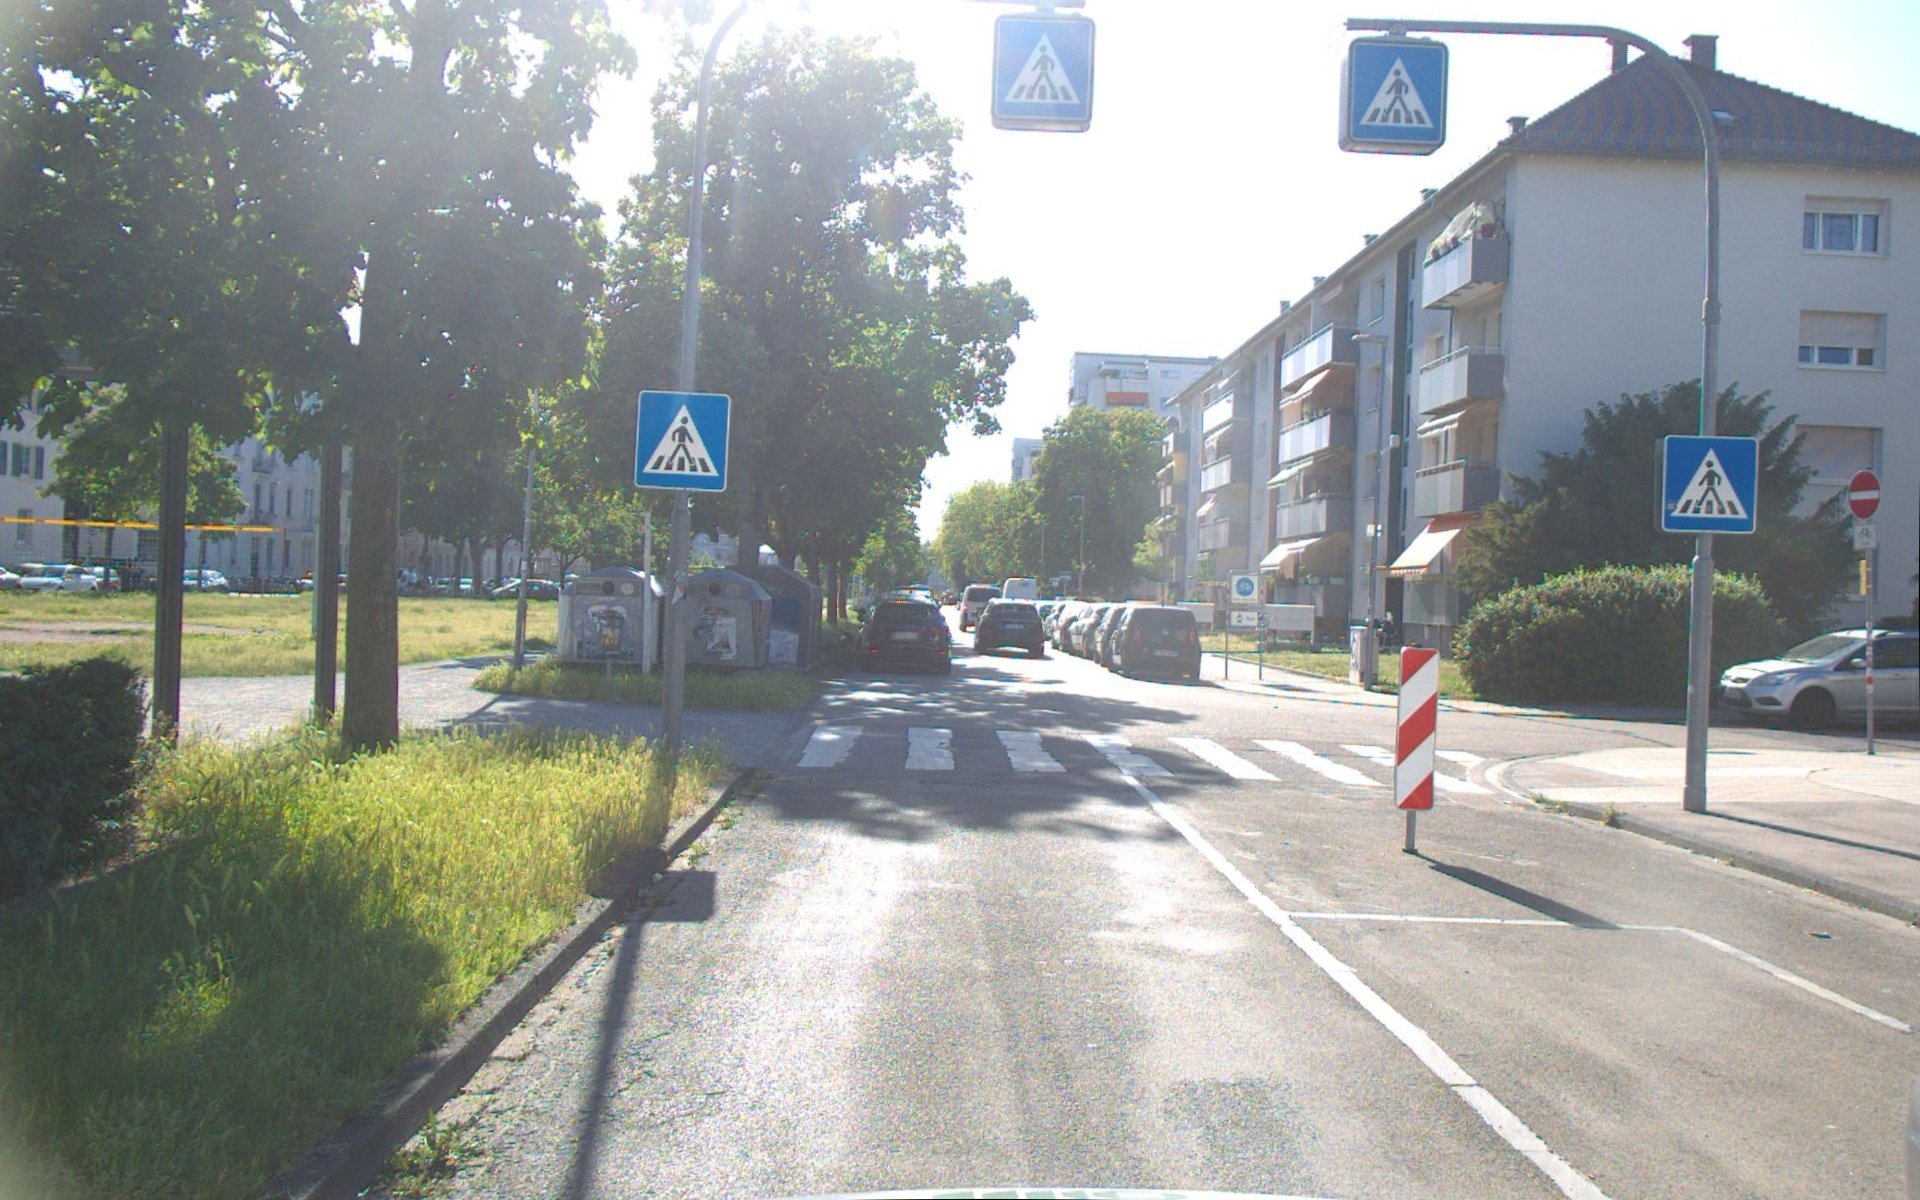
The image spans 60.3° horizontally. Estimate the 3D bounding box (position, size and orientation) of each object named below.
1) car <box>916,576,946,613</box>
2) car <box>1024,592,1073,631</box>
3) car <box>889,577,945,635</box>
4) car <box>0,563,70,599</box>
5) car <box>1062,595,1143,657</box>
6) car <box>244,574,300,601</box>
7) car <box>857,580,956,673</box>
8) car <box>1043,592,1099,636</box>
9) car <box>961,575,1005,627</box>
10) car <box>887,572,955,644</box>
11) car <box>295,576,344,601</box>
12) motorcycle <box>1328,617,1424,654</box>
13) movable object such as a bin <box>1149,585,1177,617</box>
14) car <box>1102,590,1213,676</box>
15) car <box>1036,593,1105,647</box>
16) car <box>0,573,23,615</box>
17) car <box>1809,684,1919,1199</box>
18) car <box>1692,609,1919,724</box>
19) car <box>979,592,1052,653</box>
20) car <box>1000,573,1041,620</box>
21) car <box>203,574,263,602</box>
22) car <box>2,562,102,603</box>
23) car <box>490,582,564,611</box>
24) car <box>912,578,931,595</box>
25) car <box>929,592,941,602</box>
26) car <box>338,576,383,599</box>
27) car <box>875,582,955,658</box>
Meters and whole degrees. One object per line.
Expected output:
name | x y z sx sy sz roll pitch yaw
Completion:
car | -2.067 -0.398 118.930 1.953 2.472 4.499 4 0 -1
car | 3.722 0.464 70.118 1.758 1.536 3.999 2 0 -1
car | -1.567 0.220 61.359 1.953 2.049 3.999 1 0 -1
car | -41.734 -0.848 73.908 1.758 1.536 3.999 2 0 -1
car | 3.820 0.677 44.790 1.758 1.536 3.999 2 0 -1
car | -42.857 -0.777 103.167 1.758 1.536 4.143 2 0 -1
car | -1.012 0.476 32.539 1.758 1.652 3.999 2 0 -1
car | 4.158 0.500 62.381 1.758 1.536 3.999 2 0 -1
car | 0.966 0.043 72.209 1.758 2.159 3.999 2 0 -1
car | -1.158 0.220 50.107 1.953 2.049 3.999 1 0 -1
car | -42.415 -0.775 109.575 1.758 1.536 3.999 2 0 -1
motorcycle | 11.866 1.003 47.215 2.508 0.952 0.829 2 0 -4
movable object such as a bin | 10.039 0.030 82.033 1.069 1.536 2.002 2 0 -1
car | 4.078 0.646 34.735 1.758 1.628 3.999 2 0 -1
car | 3.346 0.588 50.861 1.758 1.536 3.999 2 0 -1
car | -36.014 -0.245 60.023 1.758 1.536 3.999 2 0 -1
car | 2.763 0.890 1.554 1.729 1.342 4.167 3 0 -1
car | 14.008 1.053 25.793 4.391 1.651 1.798 2 -2 -4
car | 1.457 0.571 45.022 1.758 1.536 3.999 2 0 -1
car | 3.365 -0.199 93.158 1.953 2.472 4.499 4 0 -1
car | -43.091 -0.711 98.134 1.758 1.536 3.999 2 0 -1
car | -35.904 -0.687 65.516 1.758 1.536 3.999 2 0 -1
car | -25.415 -0.219 97.165 3.909 1.536 1.798 2 0 -5
car | -3.683 -1.277 157.327 1.758 1.537 3.999 1 0 -1
car | -3.926 -0.477 259.784 1.758 1.537 3.999 1 0 -1
car | -43.255 -0.915 119.377 1.758 1.536 3.999 2 0 -1
car | -1.048 0.451 39.509 1.758 1.652 3.999 2 0 -1
